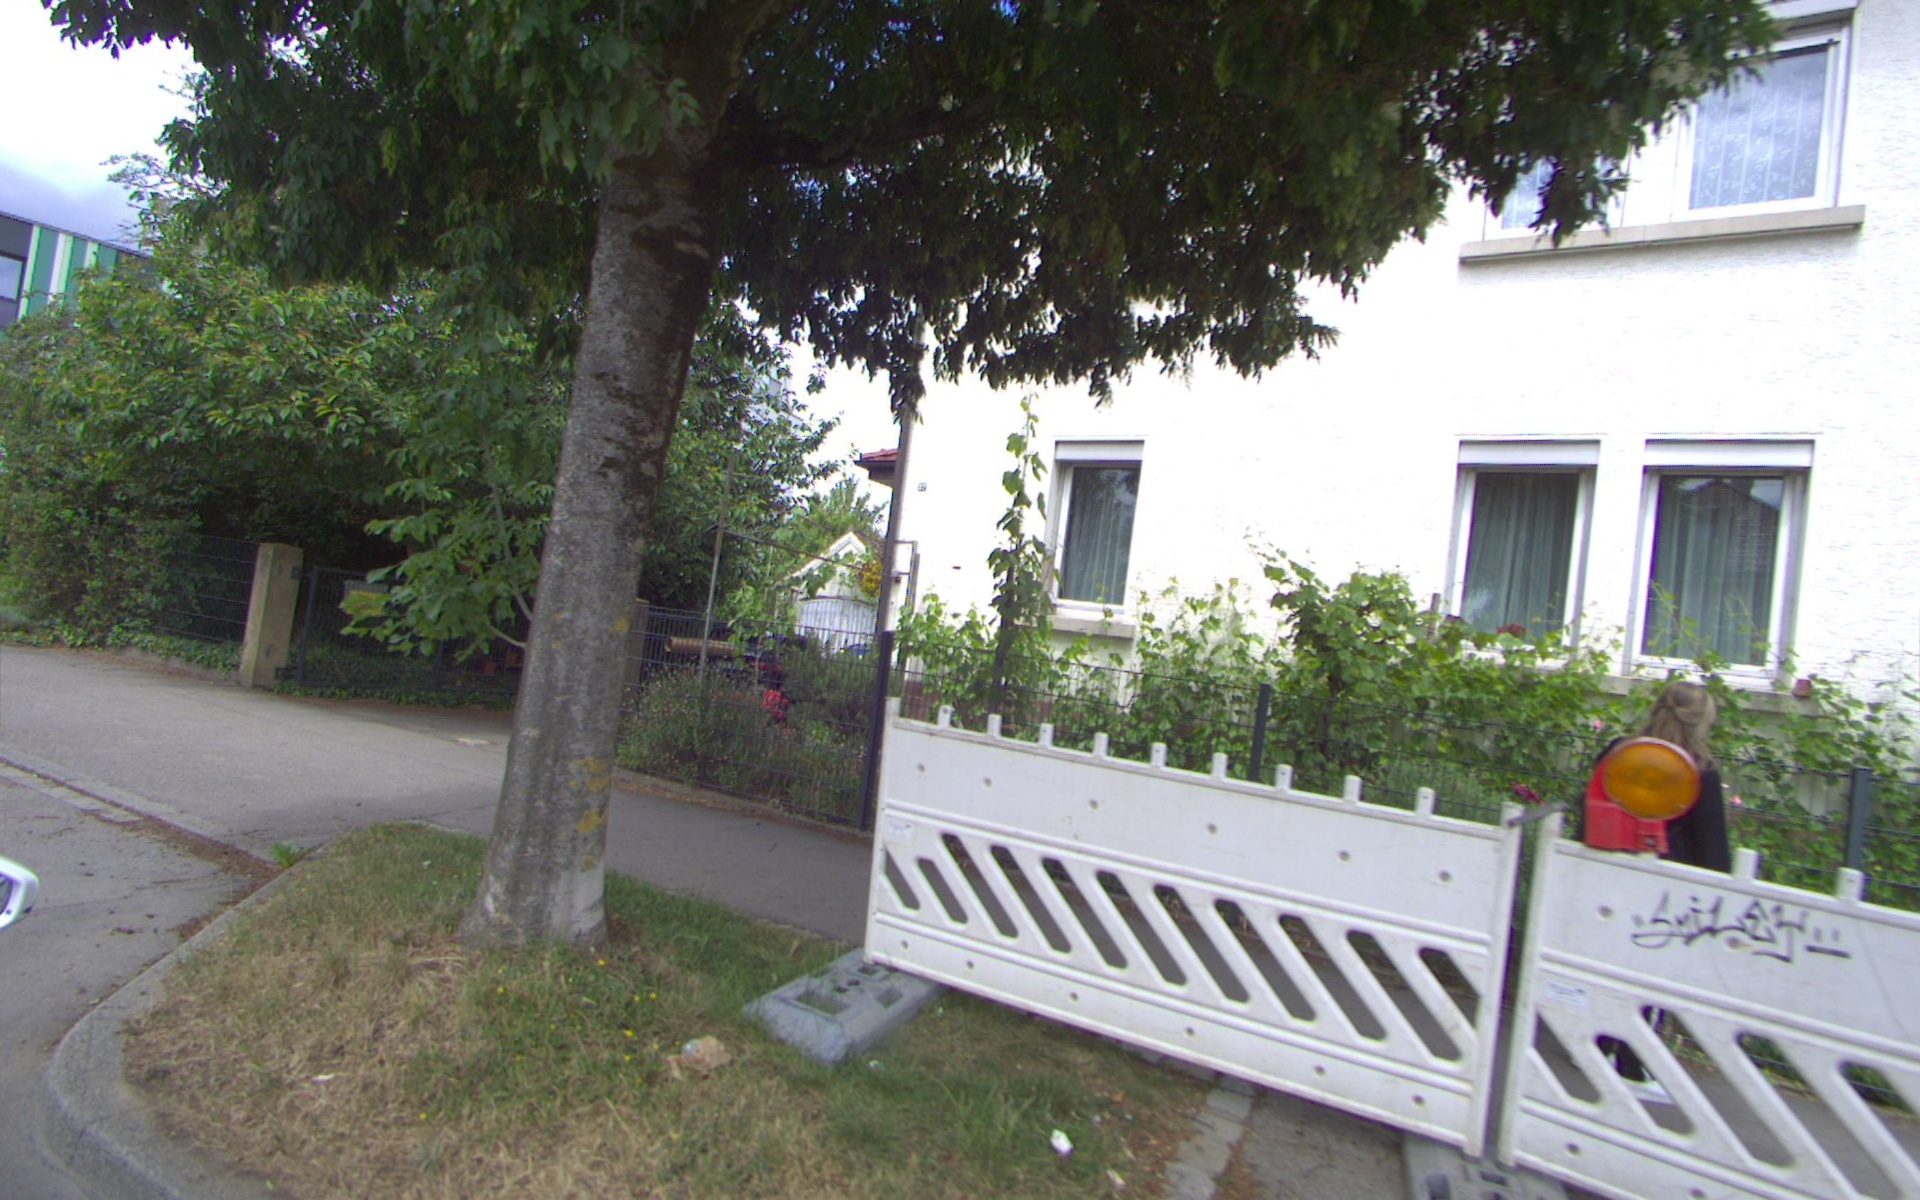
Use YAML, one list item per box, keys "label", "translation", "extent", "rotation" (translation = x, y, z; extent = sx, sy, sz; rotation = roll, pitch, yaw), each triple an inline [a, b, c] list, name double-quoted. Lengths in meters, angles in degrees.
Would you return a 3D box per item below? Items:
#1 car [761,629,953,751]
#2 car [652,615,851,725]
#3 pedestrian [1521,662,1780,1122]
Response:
- label: "car"
  translation: [-1.536, 1.493, 16.661]
  extent: [1.846, 1.524, 4.009]
  rotation: [7, -4, 13]
- label: "car"
  translation: [-3.603, 1.314, 18.252]
  extent: [1.962, 1.524, 4.009]
  rotation: [7, -4, 12]
- label: "pedestrian"
  translation: [2.680, 1.070, 3.909]
  extent: [0.631, 1.558, 0.516]
  rotation: [8, 0, -38]
